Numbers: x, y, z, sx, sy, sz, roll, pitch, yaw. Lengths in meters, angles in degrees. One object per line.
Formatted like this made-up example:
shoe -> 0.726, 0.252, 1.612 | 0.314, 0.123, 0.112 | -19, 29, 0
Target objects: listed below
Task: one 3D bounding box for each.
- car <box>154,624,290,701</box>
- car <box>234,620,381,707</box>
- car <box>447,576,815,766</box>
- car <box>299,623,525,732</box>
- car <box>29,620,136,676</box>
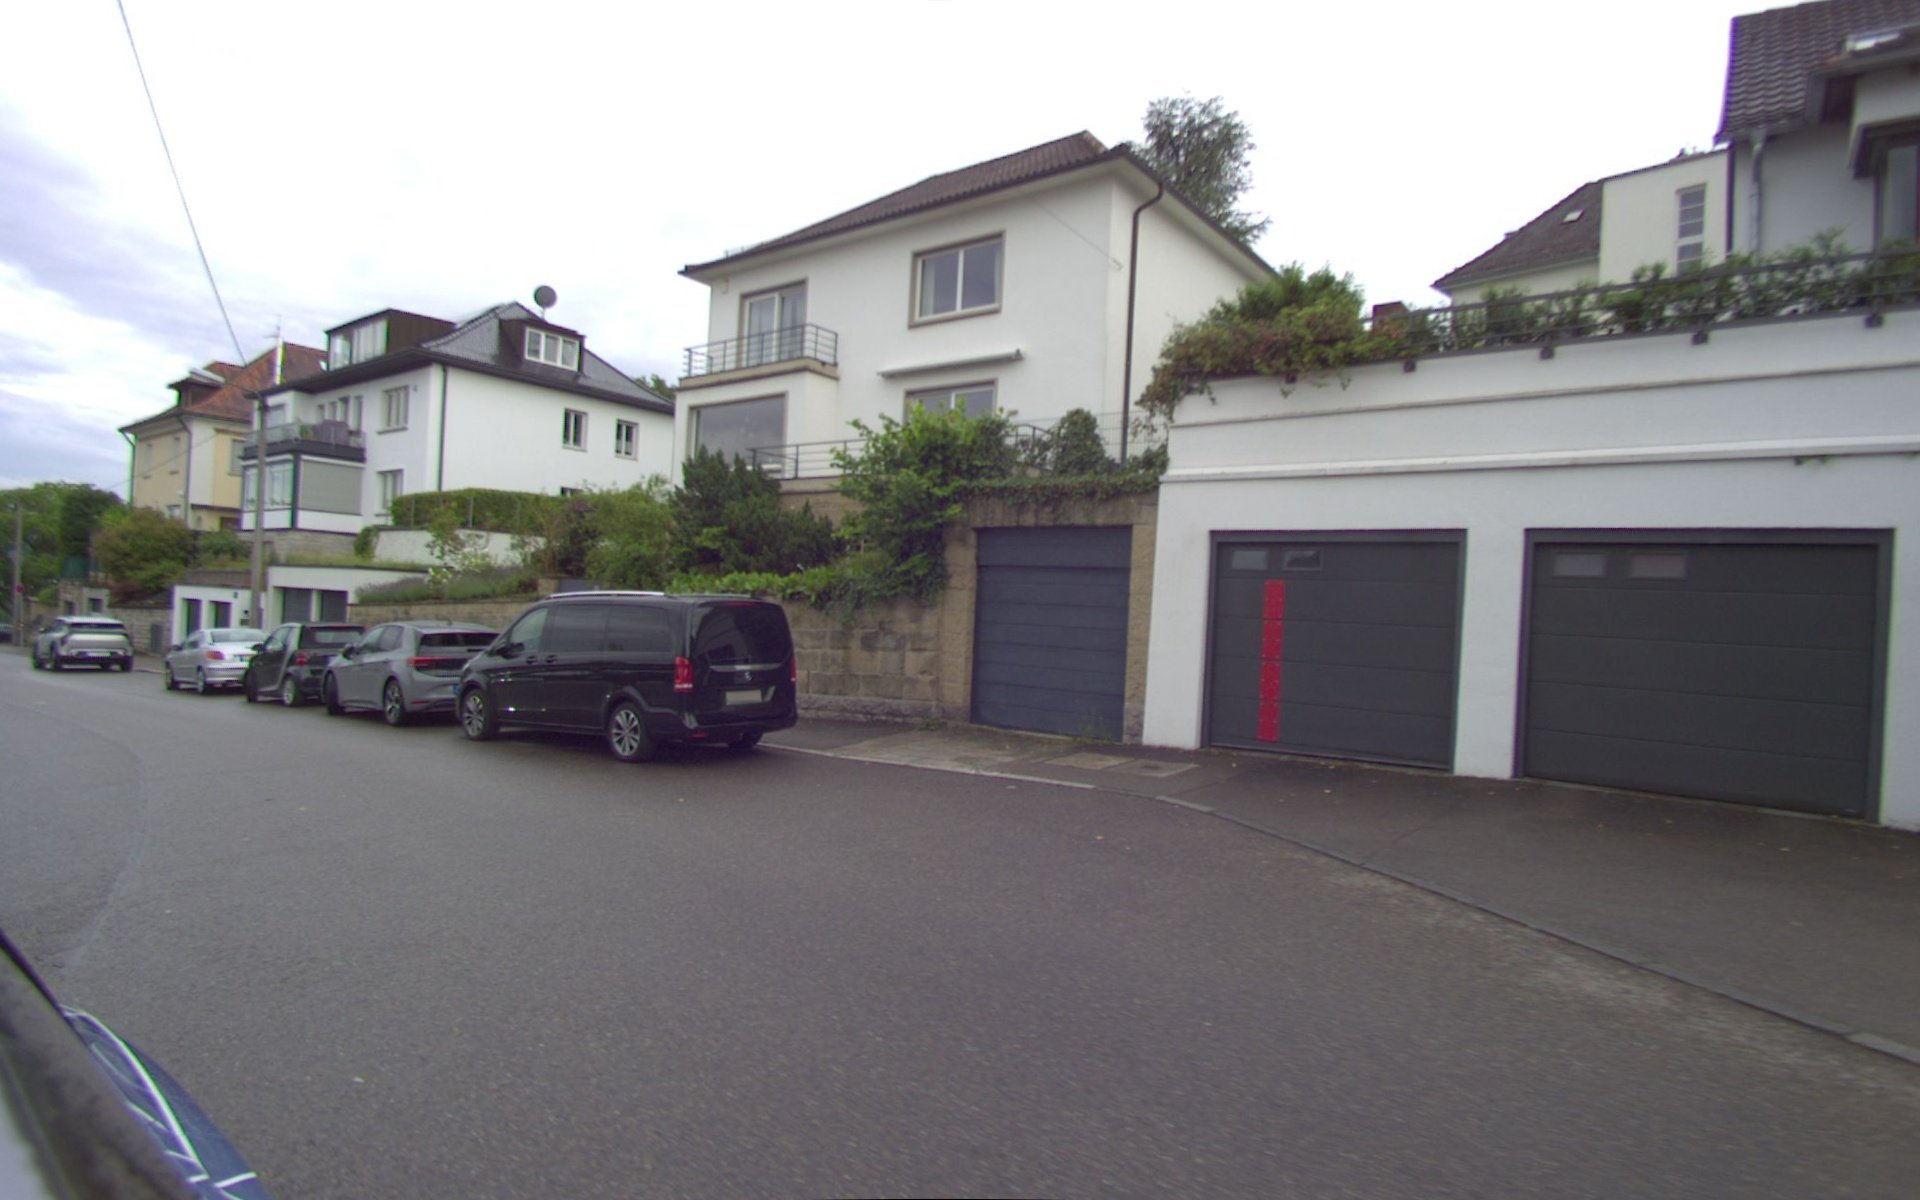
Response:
car -> -16.058, 1.287, 21.985 | 3.433, 1.502, 1.574 | -1, -1, 39
car -> -12.415, 1.142, 19.217 | 2.890, 1.502, 1.503 | -1, -1, 38
car -> -4.240, 0.762, 12.702 | 4.765, 1.972, 1.976 | -1, 0, 36
car -> -8.952, 1.147, 16.382 | 4.398, 1.502, 1.675 | -1, -1, 39
car -> -26.085, 1.367, 30.044 | 3.998, 1.512, 1.845 | 0, -1, 41
